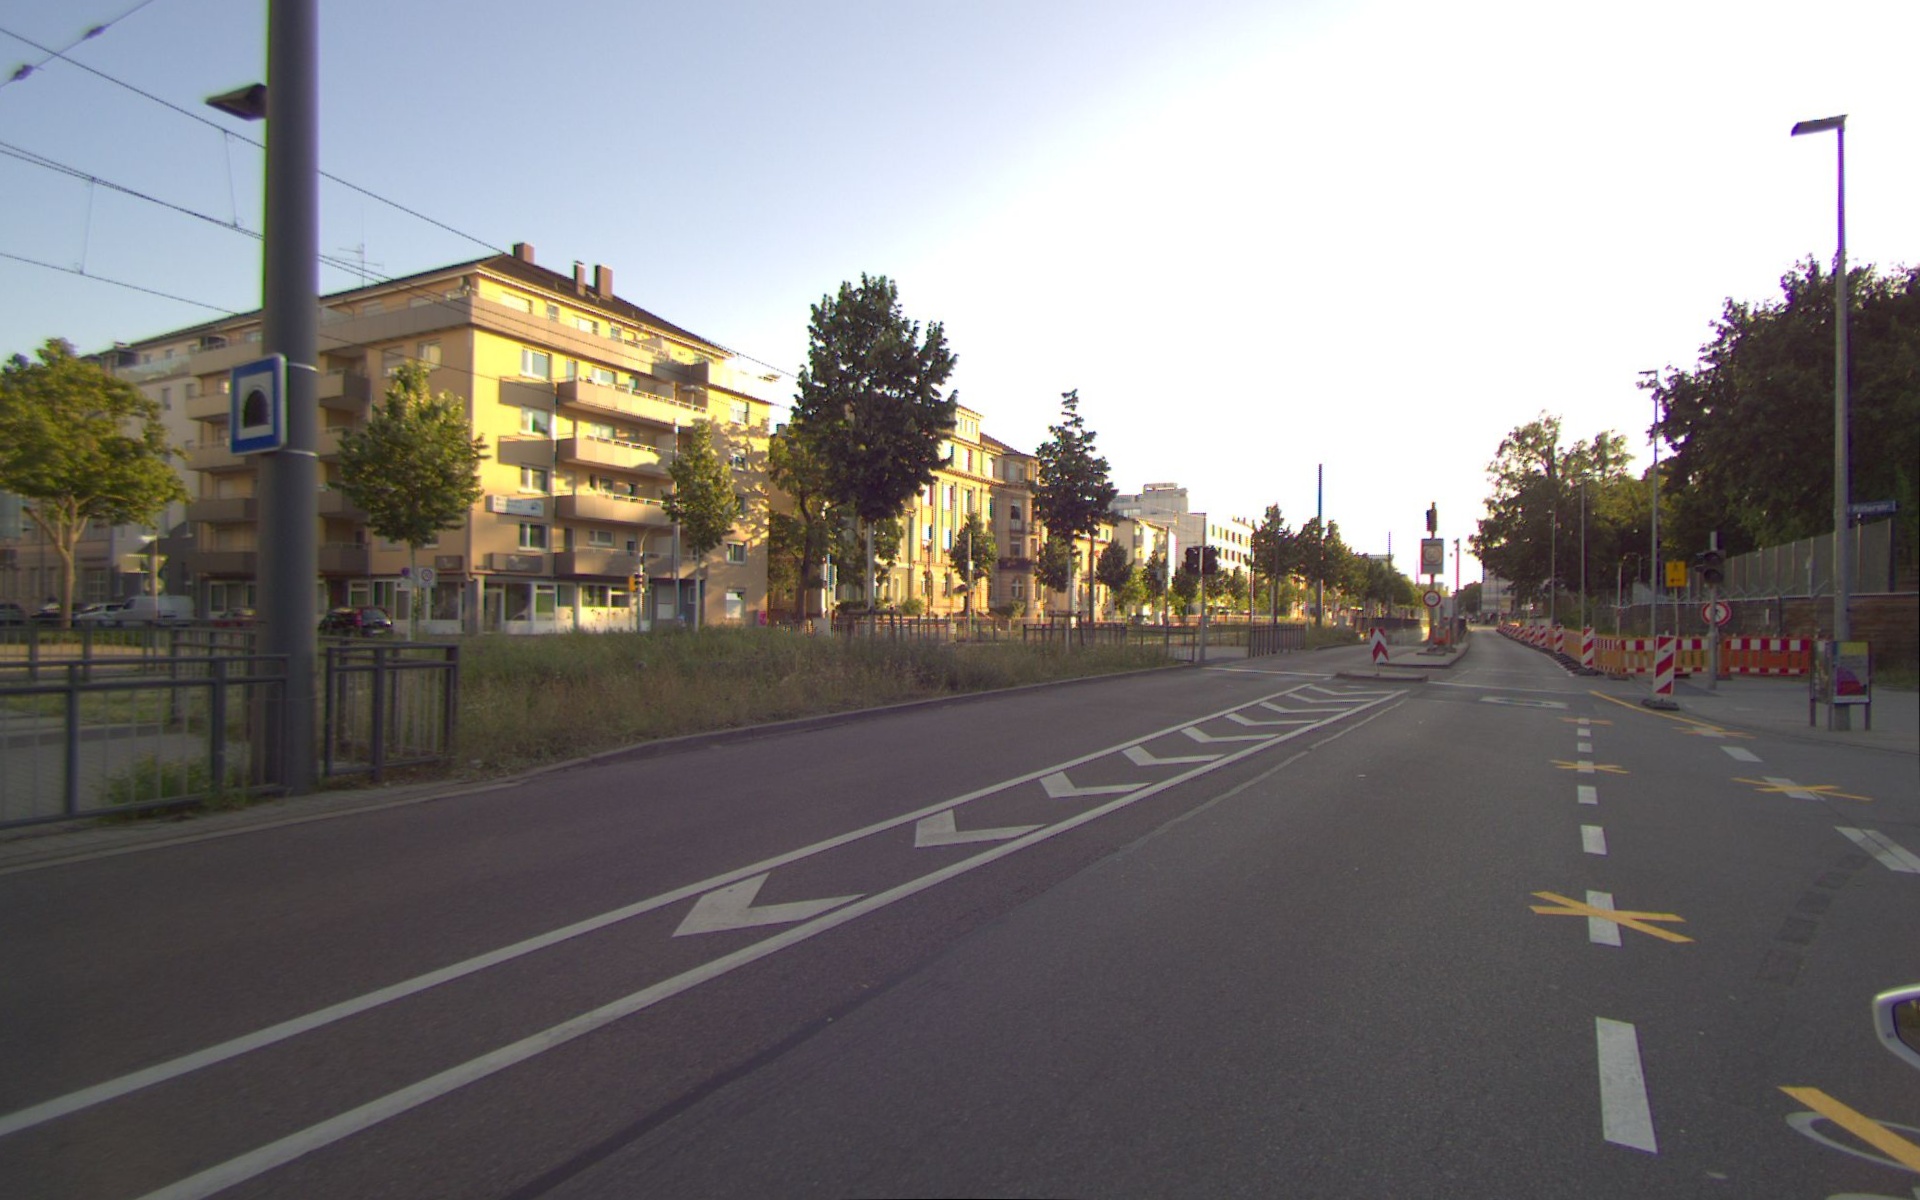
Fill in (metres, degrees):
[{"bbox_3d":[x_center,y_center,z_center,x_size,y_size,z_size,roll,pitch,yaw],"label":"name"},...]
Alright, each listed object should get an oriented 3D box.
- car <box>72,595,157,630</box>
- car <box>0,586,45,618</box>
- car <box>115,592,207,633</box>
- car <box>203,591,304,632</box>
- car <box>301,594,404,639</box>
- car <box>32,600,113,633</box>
[{"bbox_3d":[-45.960,0.666,54.615,4.263,1.779,2.113,1,-1,28],"label":"car"},{"bbox_3d":[-58.402,0.172,61.637,3.833,1.810,1.988,-2,1,27],"label":"car"},{"bbox_3d":[-41.411,0.653,52.039,4.419,2.016,2.163,1,-1,28],"label":"car"},{"bbox_3d":[-33.846,0.546,48.115,4.262,1.793,2.164,-2,0,26],"label":"car"},{"bbox_3d":[-26.692,0.701,44.104,3.874,1.870,2.188,1,-1,28],"label":"car"},{"bbox_3d":[-50.386,0.938,57.020,4.263,1.779,2.113,1,-1,28],"label":"car"}]
